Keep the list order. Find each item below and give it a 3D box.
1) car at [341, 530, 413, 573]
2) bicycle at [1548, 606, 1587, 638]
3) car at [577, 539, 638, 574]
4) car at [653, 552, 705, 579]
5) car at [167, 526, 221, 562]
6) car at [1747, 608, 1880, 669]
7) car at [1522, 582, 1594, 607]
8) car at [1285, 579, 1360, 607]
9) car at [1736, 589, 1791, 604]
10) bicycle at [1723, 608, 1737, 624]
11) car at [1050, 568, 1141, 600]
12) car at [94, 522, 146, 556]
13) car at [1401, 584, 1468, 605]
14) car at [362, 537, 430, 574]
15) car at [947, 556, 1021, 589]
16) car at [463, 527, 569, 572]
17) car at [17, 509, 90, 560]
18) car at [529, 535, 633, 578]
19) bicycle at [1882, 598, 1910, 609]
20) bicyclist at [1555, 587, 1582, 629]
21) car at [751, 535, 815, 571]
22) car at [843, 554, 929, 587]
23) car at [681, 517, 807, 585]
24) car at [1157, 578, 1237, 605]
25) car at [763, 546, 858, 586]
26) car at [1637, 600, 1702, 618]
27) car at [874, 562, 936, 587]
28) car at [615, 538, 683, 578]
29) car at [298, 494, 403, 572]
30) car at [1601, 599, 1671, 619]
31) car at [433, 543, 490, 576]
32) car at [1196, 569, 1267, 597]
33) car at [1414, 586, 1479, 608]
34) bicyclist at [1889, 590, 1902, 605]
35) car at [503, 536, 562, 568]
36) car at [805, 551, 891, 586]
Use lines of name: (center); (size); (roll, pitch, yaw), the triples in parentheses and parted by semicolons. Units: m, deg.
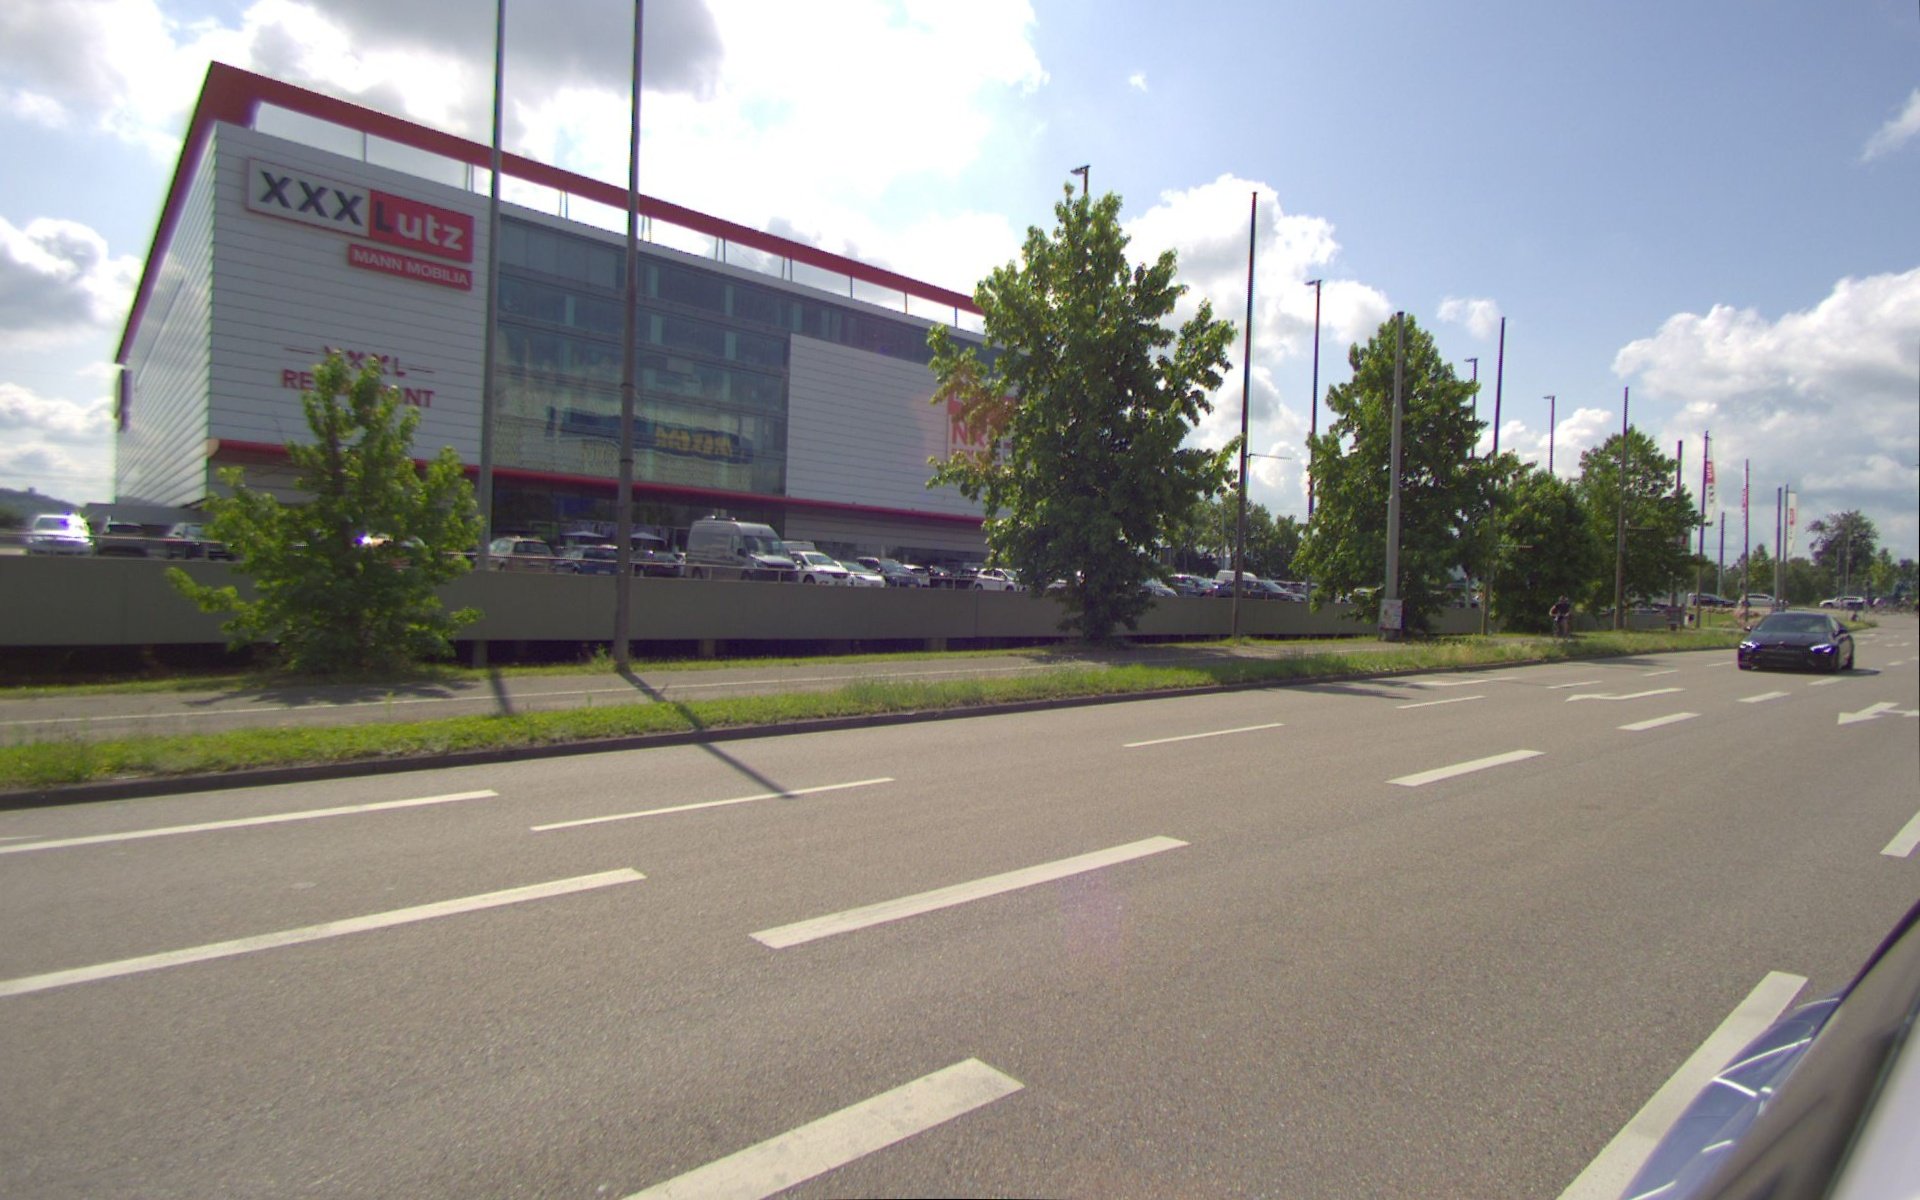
car: (-23.995, -1.947, 41.604); (1.608, 1.595, 3.899); (2, 0, -44)
bicycle: (21.154, 0.760, 35.217); (1.934, 1.081, 0.624); (1, 1, -43)
car: (-18.925, -2.286, 54.299); (1.719, 1.727, 3.746); (2, 0, -42)
car: (-15.815, -1.916, 56.827); (1.523, 1.455, 3.389); (2, 0, -40)
car: (-33.058, -2.424, 43.644); (1.557, 1.428, 3.532); (2, 2, -42)
car: (20.595, 0.870, 24.380); (4.088, 1.335, 1.796); (1, 0, -40)
car: (42.002, -0.393, 71.151); (1.667, 1.608, 4.019); (2, 0, -43)
car: (23.275, -0.461, 65.123); (1.735, 1.571, 4.187); (2, 2, -43)
car: (85.597, -0.344, 107.845); (4.479, 1.430, 1.984); (3, 2, 41)
bicycle: (50.107, 1.041, 65.850); (1.518, 0.964, 0.517); (0, 1, -43)
car: (6.738, -0.795, 50.569); (4.186, 1.406, 1.862); (4, 2, 45)
car: (-40.420, -2.912, 48.667); (1.680, 1.438, 3.900); (2, 0, -43)
car: (36.904, -0.465, 78.781); (1.814, 1.379, 4.368); (2, 1, -40)
car: (-26.351, -2.056, 47.244); (1.965, 1.563, 3.994); (2, 0, -41)
car: (1.314, -1.545, 56.877); (1.965, 1.742, 3.993); (2, 0, -41)
car: (-16.133, -1.759, 36.645); (1.954, 1.472, 4.871); (0, 1, -44)
car: (-32.192, -2.286, 35.908); (3.896, 1.595, 1.609); (1, 0, 43)
car: (-14.536, -1.605, 38.668); (1.954, 1.502, 4.871); (0, 1, -44)
bicycle: (88.638, 0.301, 95.867); (1.953, 0.973, 0.596); (1, 0, 7)
bicyclist: (21.183, 0.292, 35.235); (0.702, 1.430, 0.616); (2, 0, -42)
car: (-10.650, -2.769, 60.775); (1.966, 1.976, 3.993); (2, 0, -42)
car: (-3.581, -1.388, 48.449); (1.861, 1.452, 4.189); (2, 0, -43)
car: (-8.313, -1.799, 38.592); (2.027, 2.396, 5.663); (0, 1, -44)
car: (13.451, -0.504, 57.619); (1.659, 1.341, 4.190); (1, 2, -42)
car: (-5.946, -1.315, 40.002); (1.718, 1.533, 3.990); (0, 1, -44)
car: (62.056, 0.741, 88.599); (1.765, 1.458, 4.365); (0, 1, -42)
car: (-3.371, -1.522, 61.853); (1.601, 1.438, 3.992); (2, 0, -42)
car: (-15.492, -2.042, 50.248); (1.744, 1.861, 3.890); (2, 0, -42)
car: (-19.900, -2.071, 32.960); (1.953, 2.223, 5.167); (0, 0, -42)
car: (54.401, 0.713, 81.460); (1.824, 1.495, 4.367); (0, 0, -40)
car: (-23.957, -1.908, 48.628); (1.557, 1.483, 3.531); (2, 0, -42)
car: (32.465, -2.100, 121.463); (3.066, 3.193, 7.898); (0, 2, -39)
car: (38.602, -0.243, 80.383); (1.598, 1.460, 4.368); (2, 1, -40)
bicyclist: (88.625, -0.236, 95.880); (0.675, 1.342, 0.591); (1, -1, 7)
car: (-21.823, -2.406, 51.572); (1.607, 1.461, 3.902); (2, 0, -42)
car: (-5.152, -1.453, 46.154); (1.697, 1.452, 4.190); (2, 2, -43)
